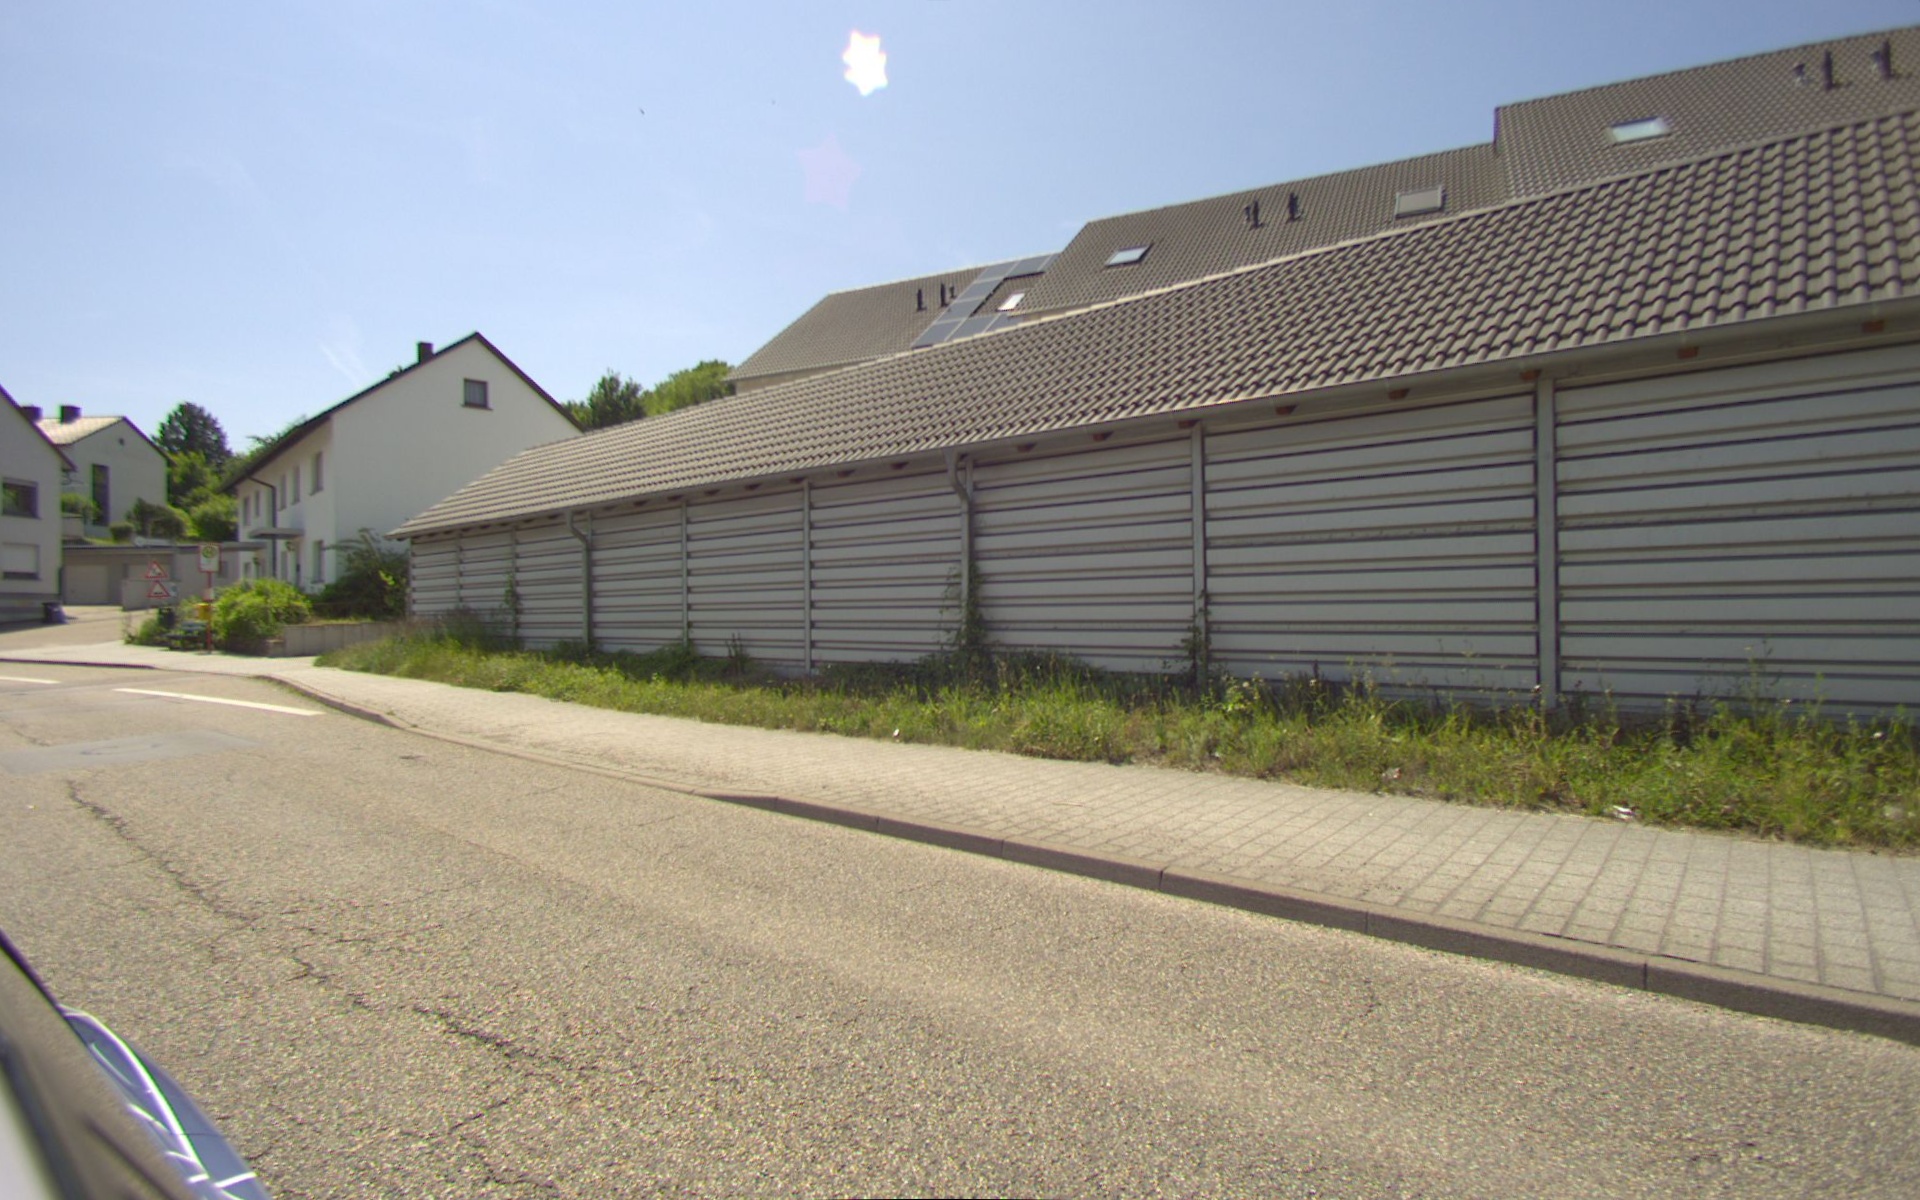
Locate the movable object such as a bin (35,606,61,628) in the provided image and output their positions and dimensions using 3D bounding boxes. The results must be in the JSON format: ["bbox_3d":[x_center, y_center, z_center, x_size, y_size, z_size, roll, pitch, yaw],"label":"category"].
[{"bbox_3d":[-39.516,0.721,43.865,0.591,0.941,0.601,0,-1,-6],"label":"movable object such as a bin"}]
